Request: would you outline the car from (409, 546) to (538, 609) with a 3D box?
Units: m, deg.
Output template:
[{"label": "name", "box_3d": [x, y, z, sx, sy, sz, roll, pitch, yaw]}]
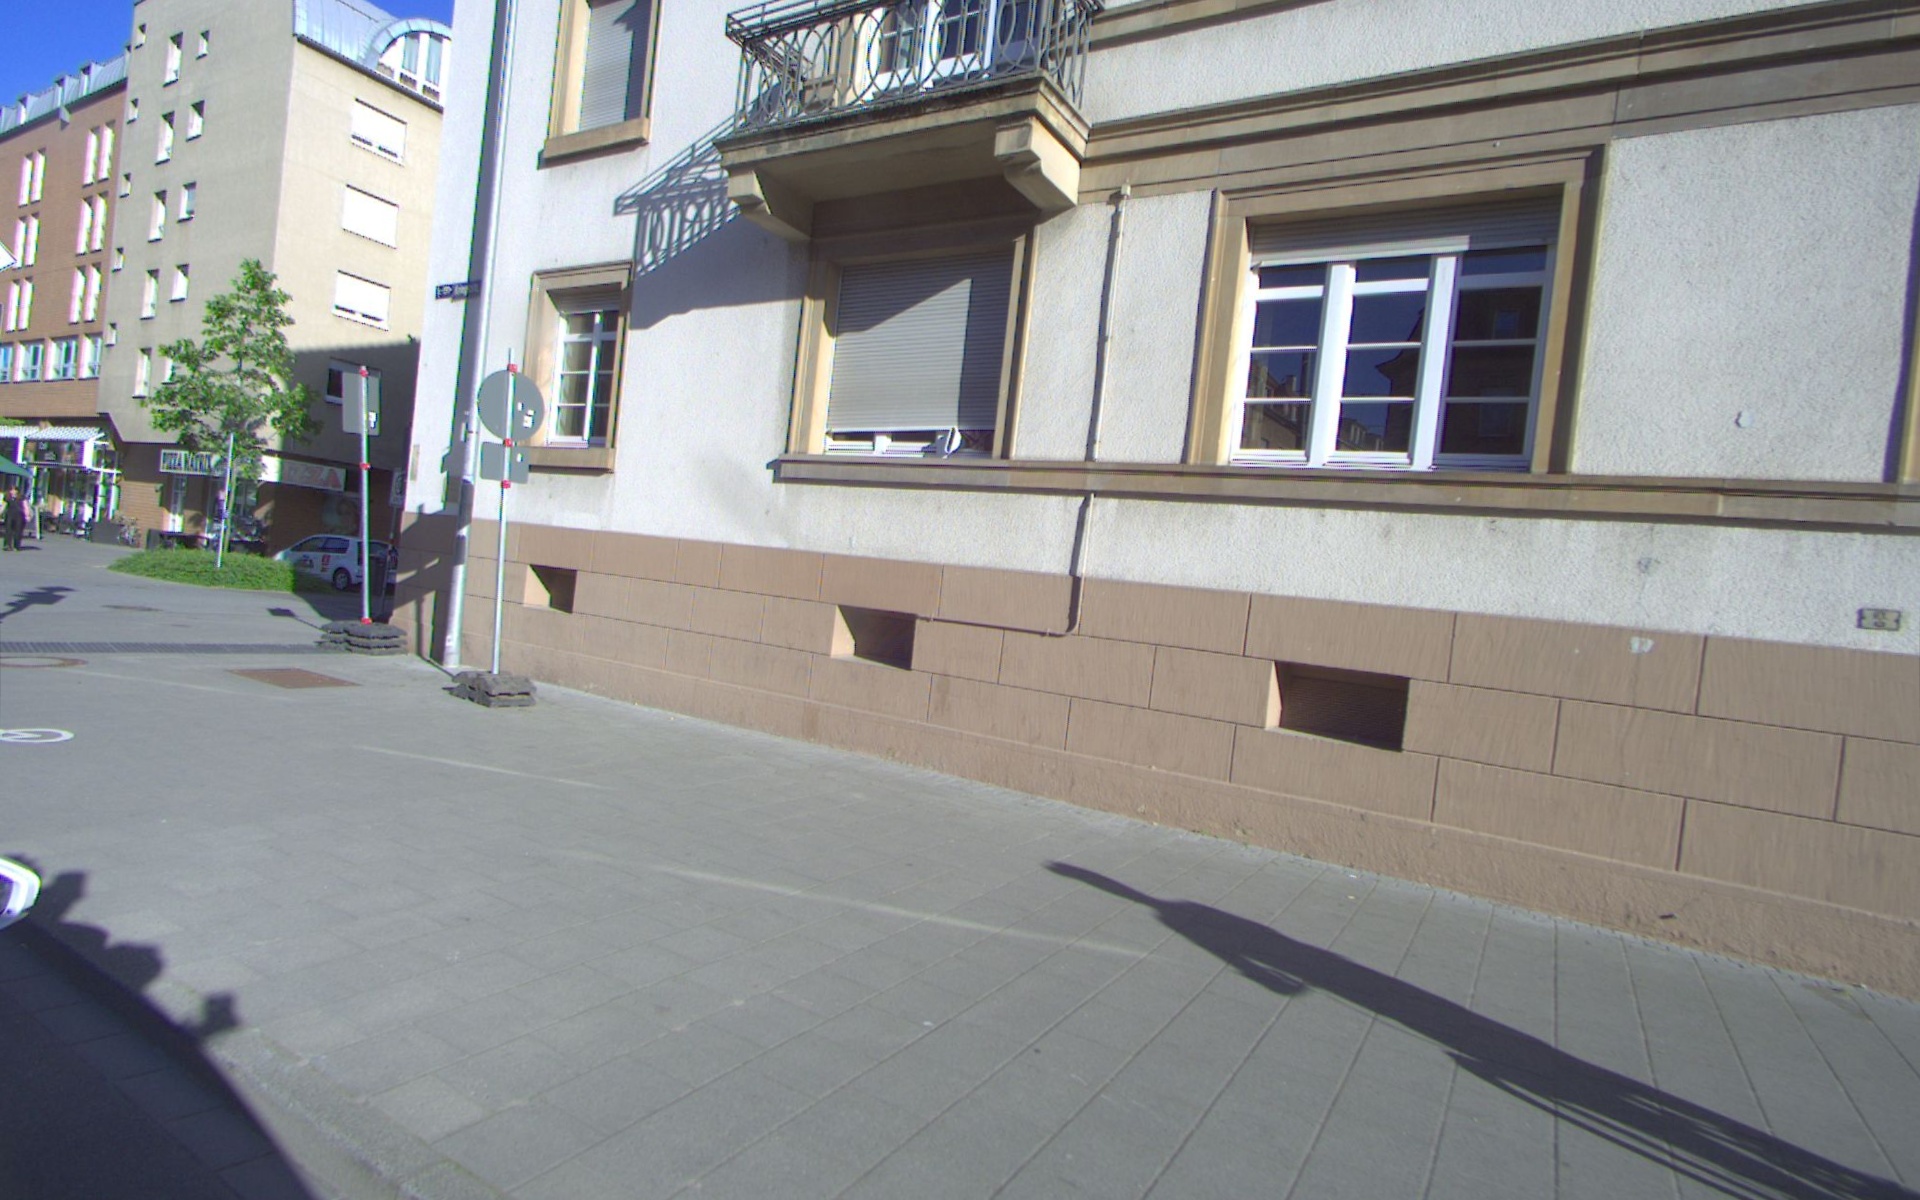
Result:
[{"label": "car", "box_3d": [-15.473, -0.730, 32.000, 3.667, 1.472, 1.637, 7, -2, 25]}]

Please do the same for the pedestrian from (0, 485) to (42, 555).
[{"label": "pedestrian", "box_3d": [-25.377, -2.153, 27.009, 0.878, 1.786, 1.094, 4, 2, -37]}]

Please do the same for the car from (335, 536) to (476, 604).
[{"label": "car", "box_3d": [-16.403, -0.876, 29.779, 3.589, 1.469, 1.638, 7, -2, 22]}]

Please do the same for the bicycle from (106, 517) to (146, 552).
[{"label": "bicycle", "box_3d": [-31.353, -2.465, 37.813, 1.510, 1.185, 0.614, 7, 2, 29]}]

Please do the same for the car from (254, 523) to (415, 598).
[{"label": "car", "box_3d": [-17.162, -1.076, 27.635, 3.765, 1.491, 1.669, 7, -2, 20]}]
